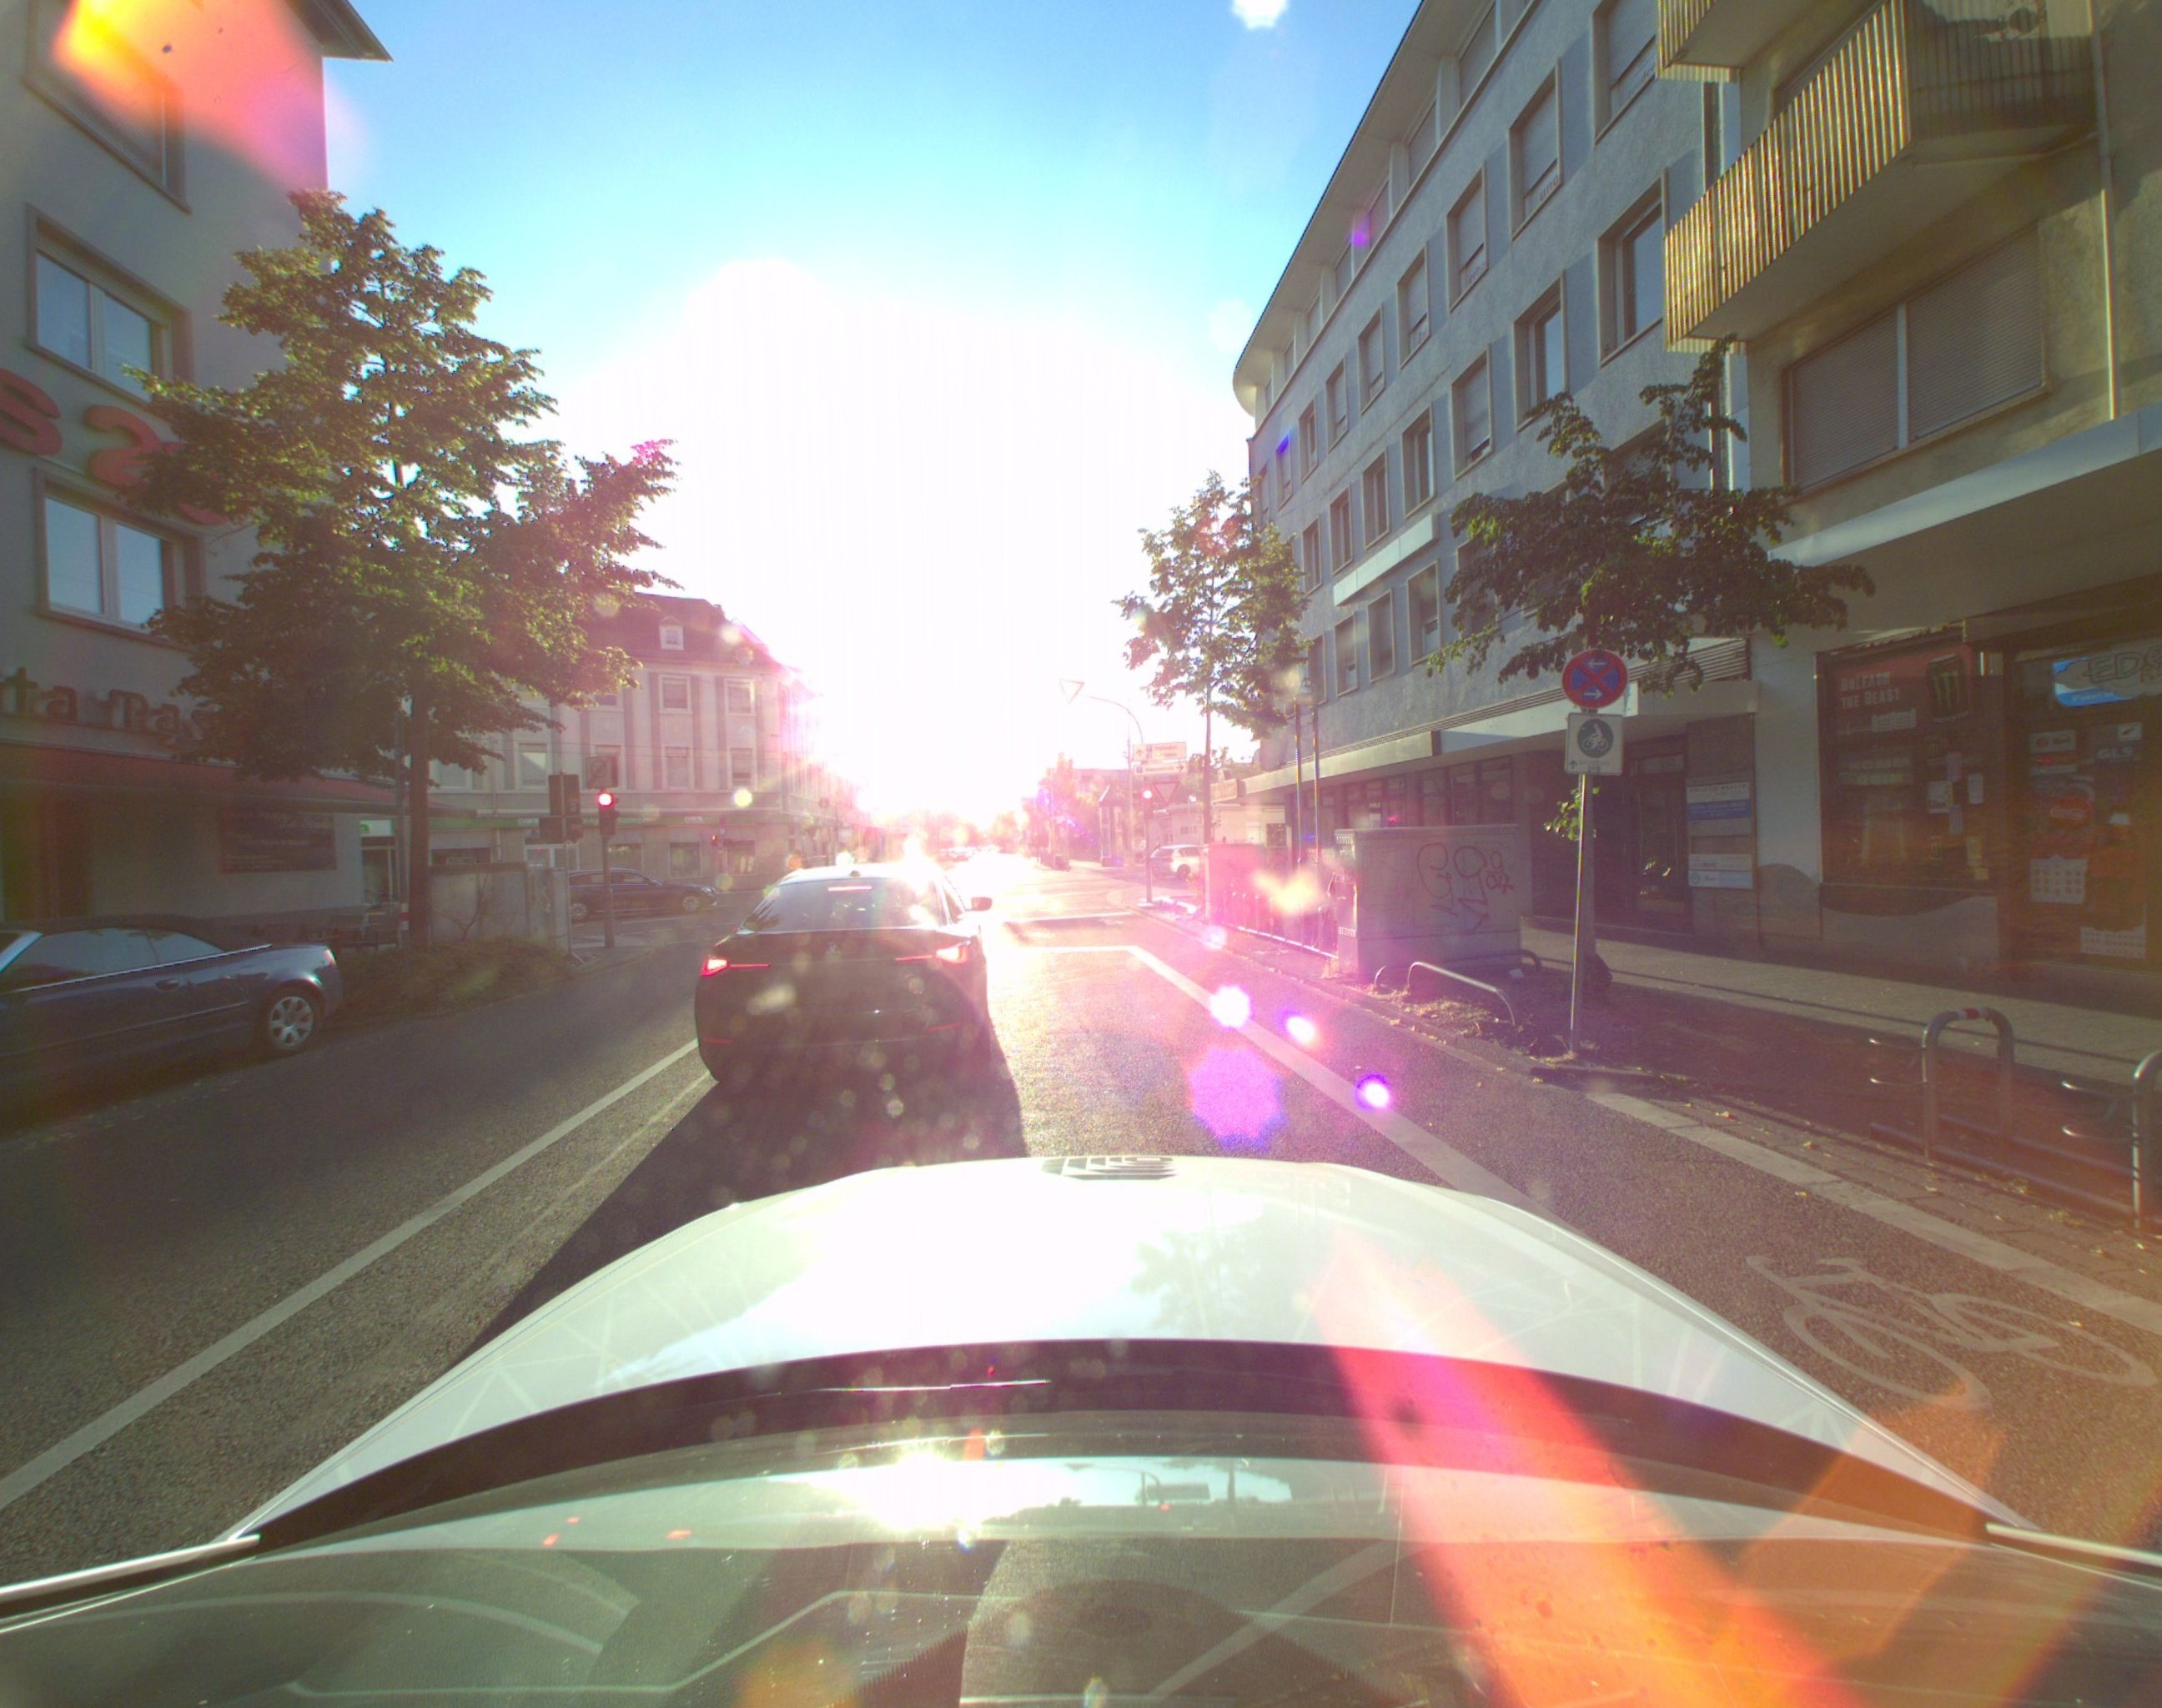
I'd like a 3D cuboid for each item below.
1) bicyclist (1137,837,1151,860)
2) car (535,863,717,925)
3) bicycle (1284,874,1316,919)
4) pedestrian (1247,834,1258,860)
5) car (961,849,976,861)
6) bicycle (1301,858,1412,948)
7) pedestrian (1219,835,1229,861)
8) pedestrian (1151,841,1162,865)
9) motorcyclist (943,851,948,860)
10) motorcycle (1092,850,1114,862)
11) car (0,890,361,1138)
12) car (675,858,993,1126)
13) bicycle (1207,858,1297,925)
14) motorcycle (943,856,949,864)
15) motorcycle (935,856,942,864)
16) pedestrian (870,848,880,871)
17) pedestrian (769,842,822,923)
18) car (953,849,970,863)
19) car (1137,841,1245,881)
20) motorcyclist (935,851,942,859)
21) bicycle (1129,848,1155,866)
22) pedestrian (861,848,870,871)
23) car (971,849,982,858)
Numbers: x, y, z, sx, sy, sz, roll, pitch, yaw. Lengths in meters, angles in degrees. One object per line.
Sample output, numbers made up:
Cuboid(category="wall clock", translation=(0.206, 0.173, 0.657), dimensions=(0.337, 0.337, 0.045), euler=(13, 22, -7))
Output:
Cuboid(category="bicyclist", translation=(4.147, -0.372, 53.360), dimensions=(0.554, 1.481, 0.715), euler=(-1, -1, -33))
Cuboid(category="car", translation=(-13.166, 1.095, 23.738), dimensions=(4.436, 1.473, 1.800), euler=(-2, 1, -32))
Cuboid(category="bicycle", translation=(4.163, 0.793, 15.520), dimensions=(0.249, 0.796, 1.114), euler=(0, 0, -4))
Cuboid(category="pedestrian", translation=(11.470, -0.480, 54.508), dimensions=(0.481, 1.734, 0.526), euler=(0, 0, -31))
Cuboid(category="car", translation=(-15.752, 0.170, 113.994), dimensions=(1.816, 1.519, 3.992), euler=(-2, 1, -6))
Cuboid(category="bicycle", translation=(3.862, 0.673, 11.430), dimensions=(1.438, 1.220, 0.383), euler=(0, 0, -5))
Cuboid(category="pedestrian", translation=(9.696, -0.404, 55.174), dimensions=(0.445, 1.734, 0.429), euler=(0, 0, -31))
Cuboid(category="pedestrian", translation=(5.026, -0.070, 54.033), dimensions=(0.729, 1.529, 0.473), euler=(0, 0, 5))
Cuboid(category="motorcyclist", translation=(-15.679, 0.142, 94.335), dimensions=(0.574, 0.995, 0.701), euler=(0, 0, -6))
Cuboid(category="motorcycle", translation=(1.838, 0.169, 68.073), dimensions=(1.673, 0.939, 0.851), euler=(-2, 1, -18))
Cuboid(category="car", translation=(-7.650, 1.111, 5.671), dimensions=(1.721, 1.415, 4.270), euler=(-4, 0, -7))
Cuboid(category="car", translation=(-1.651, 0.779, 6.748), dimensions=(1.735, 1.428, 4.213), euler=(-1, 0, -7))
Cuboid(category="bicycle", translation=(3.210, 0.699, 15.327), dimensions=(1.610, 1.171, 0.318), euler=(-2, 0, -5))
Cuboid(category="motorcycle", translation=(-15.688, 0.673, 94.445), dimensions=(0.574, 0.915, 2.196), euler=(0, 0, -6))
Cuboid(category="motorcycle", translation=(-16.573, 0.677, 94.852), dimensions=(0.574, 0.915, 2.196), euler=(0, 0, -6))
Cuboid(category="pedestrian", translation=(-16.615, 0.432, 65.709), dimensions=(0.675, 1.876, 0.616), euler=(0, 0, -7))
Cuboid(category="pedestrian", translation=(-6.922, 0.680, 19.736), dimensions=(1.006, 1.860, 0.634), euler=(-4, 1, -27))
Cuboid(category="car", translation=(-13.953, 0.204, 95.230), dimensions=(1.816, 1.519, 3.992), euler=(-2, 1, -6))
Cuboid(category="car", translation=(4.783, 0.262, 35.274), dimensions=(4.336, 1.498, 1.980), euler=(-3, 1, -32))
Cuboid(category="motorcyclist", translation=(-16.574, 0.145, 94.868), dimensions=(0.574, 0.915, 2.196), euler=(0, 0, -6))
Cuboid(category="bicycle", translation=(3.998, 0.197, 53.594), dimensions=(0.554, 1.159, 2.122), euler=(-1, 0, -33))
Cuboid(category="pedestrian", translation=(-17.304, 0.438, 65.419), dimensions=(0.642, 1.876, 0.630), euler=(0, 0, -7))
Cuboid(category="car", translation=(-18.181, -0.046, 141.457), dimensions=(1.816, 1.519, 3.992), euler=(-2, 1, -6))
